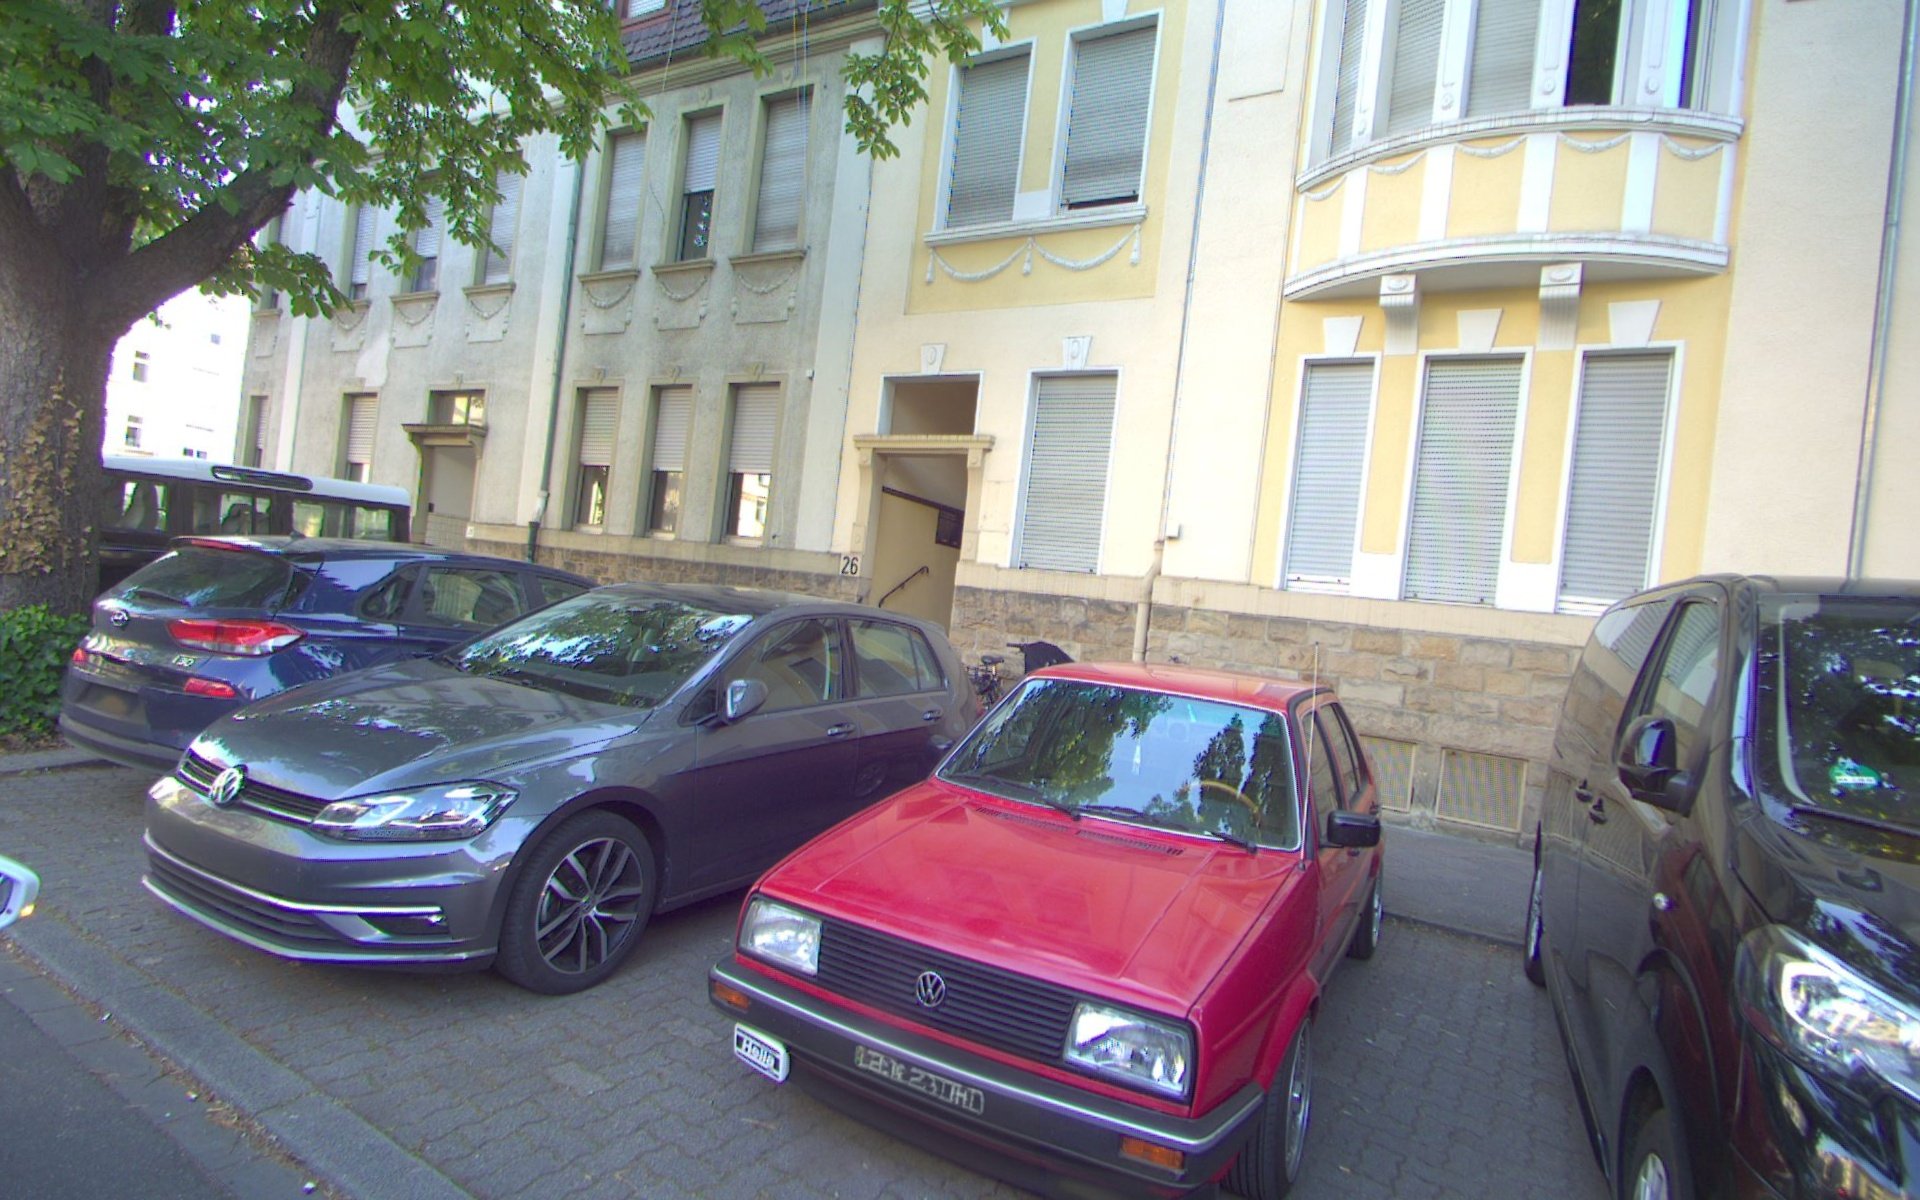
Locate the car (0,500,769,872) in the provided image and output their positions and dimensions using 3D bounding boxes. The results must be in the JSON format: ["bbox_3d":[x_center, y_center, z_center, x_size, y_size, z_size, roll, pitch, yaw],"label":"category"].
[{"bbox_3d":[-3.090,0.427,6.200,1.679,1.470,3.730,6,0,28],"label":"car"}]

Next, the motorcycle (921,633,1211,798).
[{"bbox_3d":[0.950,1.000,9.396,2.439,1.087,0.959,7,2,32],"label":"motorcycle"}]

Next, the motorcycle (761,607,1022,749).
[{"bbox_3d":[-0.795,0.779,10.785,2.822,1.087,0.694,7,2,31],"label":"motorcycle"}]

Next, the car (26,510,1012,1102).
[{"bbox_3d":[-1.437,0.623,4.817,1.693,1.470,4.060,6,0,28],"label":"car"}]

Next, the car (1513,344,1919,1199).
[{"bbox_3d":[2.847,0.871,2.878,1.864,1.898,4.759,6,0,27],"label":"car"}]

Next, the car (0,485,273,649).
[{"bbox_3d":[-9.992,-0.383,10.937,1.679,1.589,3.730,6,0,28],"label":"car"}]

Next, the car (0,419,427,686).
[{"bbox_3d":[-7.598,-0.366,9.237,1.671,2.061,4.473,6,0,28],"label":"car"}]

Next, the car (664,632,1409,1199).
[{"bbox_3d":[0.870,0.947,4.305,1.601,1.332,4.144,6,0,27],"label":"car"}]
